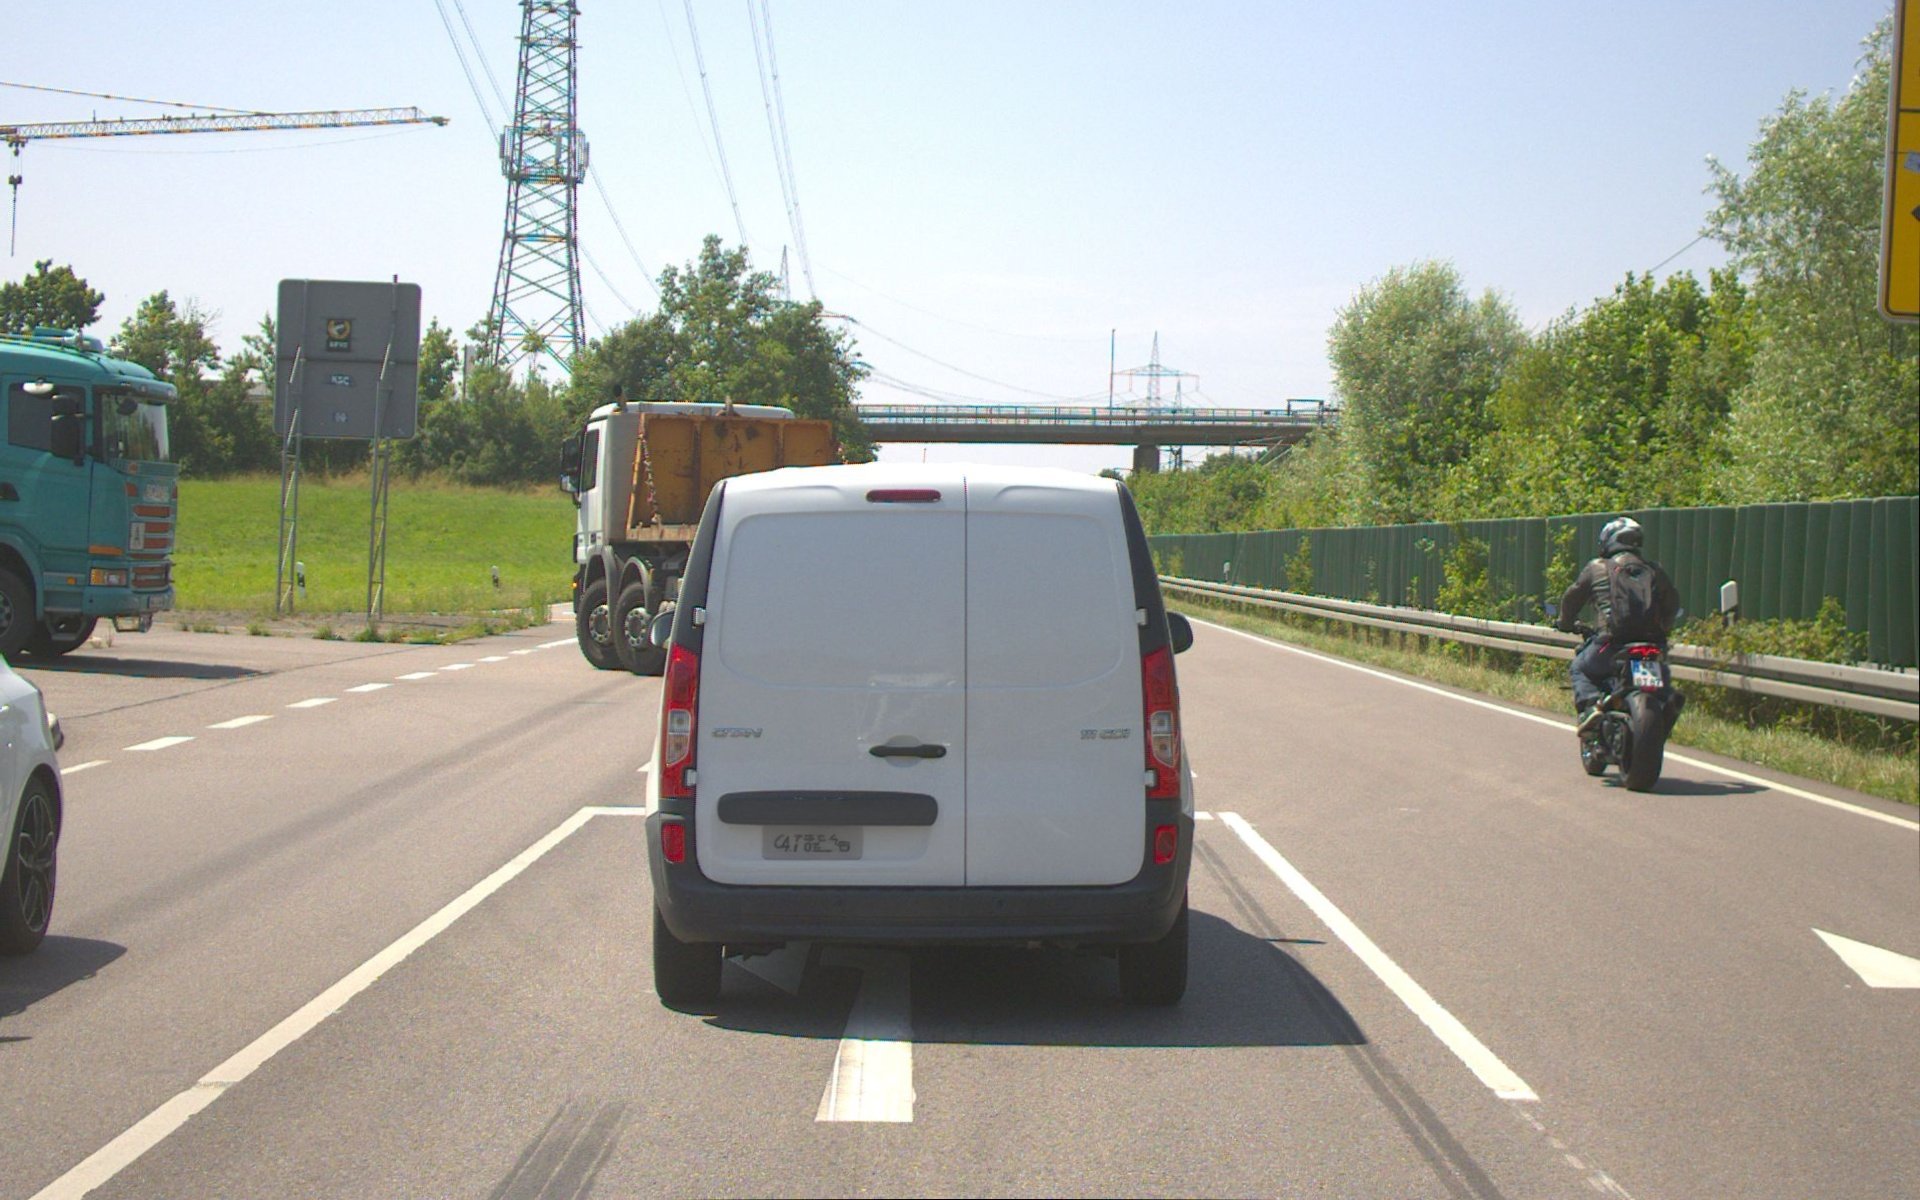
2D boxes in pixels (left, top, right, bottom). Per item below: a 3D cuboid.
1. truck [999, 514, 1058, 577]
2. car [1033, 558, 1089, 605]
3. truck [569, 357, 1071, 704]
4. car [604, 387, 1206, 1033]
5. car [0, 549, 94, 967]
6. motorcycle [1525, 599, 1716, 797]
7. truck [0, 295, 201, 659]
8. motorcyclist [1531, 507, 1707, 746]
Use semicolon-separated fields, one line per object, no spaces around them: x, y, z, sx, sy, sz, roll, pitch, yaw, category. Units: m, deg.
3.055;-2.477;155.003;2.374;2.680;8.010;2;1;0;truck
3.504;-0.651;120.148;1.848;1.568;4.000;1;1;0;car
-1.832;-0.811;37.548;2.819;3.277;9.704;1;2;-18;truck
-0.176;0.304;12.560;1.827;1.964;4.000;1;1;0;car
-4.177;0.553;10.930;1.725;1.436;4.249;1;1;0;car
4.178;0.596;21.877;0.790;1.153;1.901;1;1;-1;motorcycle
-12.563;-1.494;37.286;7.905;3.721;2.498;3;1;3;truck
4.178;0.156;21.872;0.889;1.471;1.002;1;1;-1;motorcyclist
